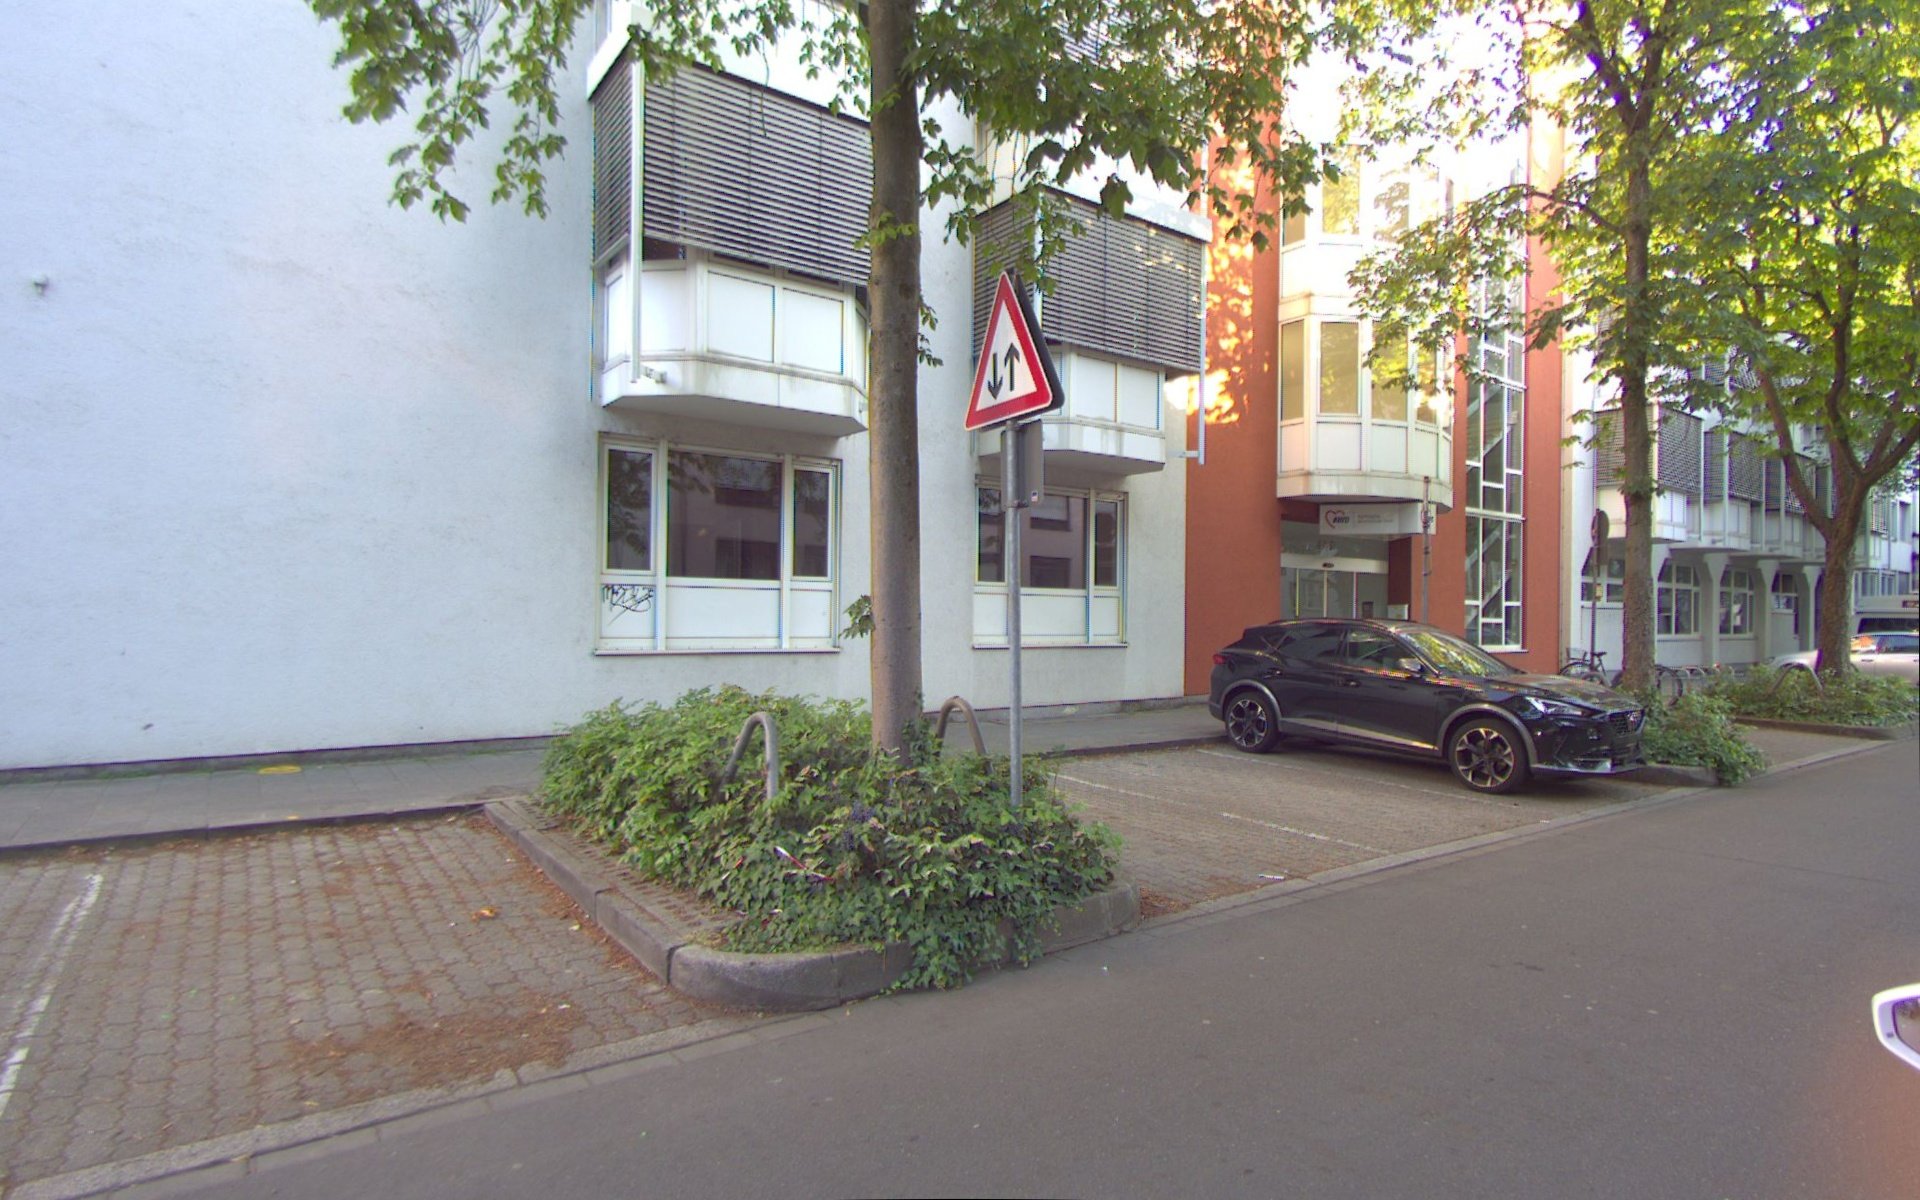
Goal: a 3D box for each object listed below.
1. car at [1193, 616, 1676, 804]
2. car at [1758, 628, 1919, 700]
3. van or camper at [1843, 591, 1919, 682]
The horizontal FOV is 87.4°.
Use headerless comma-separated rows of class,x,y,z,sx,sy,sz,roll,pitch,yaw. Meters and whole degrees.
car,4.714,0.953,10.603,1.768,1.537,4.325,1,-1,-35
car,21.161,1.448,23.226,1.767,1.537,3.942,1,-1,-35
van or camper,27.903,1.029,28.025,1.981,2.511,4.632,1,-1,-36
